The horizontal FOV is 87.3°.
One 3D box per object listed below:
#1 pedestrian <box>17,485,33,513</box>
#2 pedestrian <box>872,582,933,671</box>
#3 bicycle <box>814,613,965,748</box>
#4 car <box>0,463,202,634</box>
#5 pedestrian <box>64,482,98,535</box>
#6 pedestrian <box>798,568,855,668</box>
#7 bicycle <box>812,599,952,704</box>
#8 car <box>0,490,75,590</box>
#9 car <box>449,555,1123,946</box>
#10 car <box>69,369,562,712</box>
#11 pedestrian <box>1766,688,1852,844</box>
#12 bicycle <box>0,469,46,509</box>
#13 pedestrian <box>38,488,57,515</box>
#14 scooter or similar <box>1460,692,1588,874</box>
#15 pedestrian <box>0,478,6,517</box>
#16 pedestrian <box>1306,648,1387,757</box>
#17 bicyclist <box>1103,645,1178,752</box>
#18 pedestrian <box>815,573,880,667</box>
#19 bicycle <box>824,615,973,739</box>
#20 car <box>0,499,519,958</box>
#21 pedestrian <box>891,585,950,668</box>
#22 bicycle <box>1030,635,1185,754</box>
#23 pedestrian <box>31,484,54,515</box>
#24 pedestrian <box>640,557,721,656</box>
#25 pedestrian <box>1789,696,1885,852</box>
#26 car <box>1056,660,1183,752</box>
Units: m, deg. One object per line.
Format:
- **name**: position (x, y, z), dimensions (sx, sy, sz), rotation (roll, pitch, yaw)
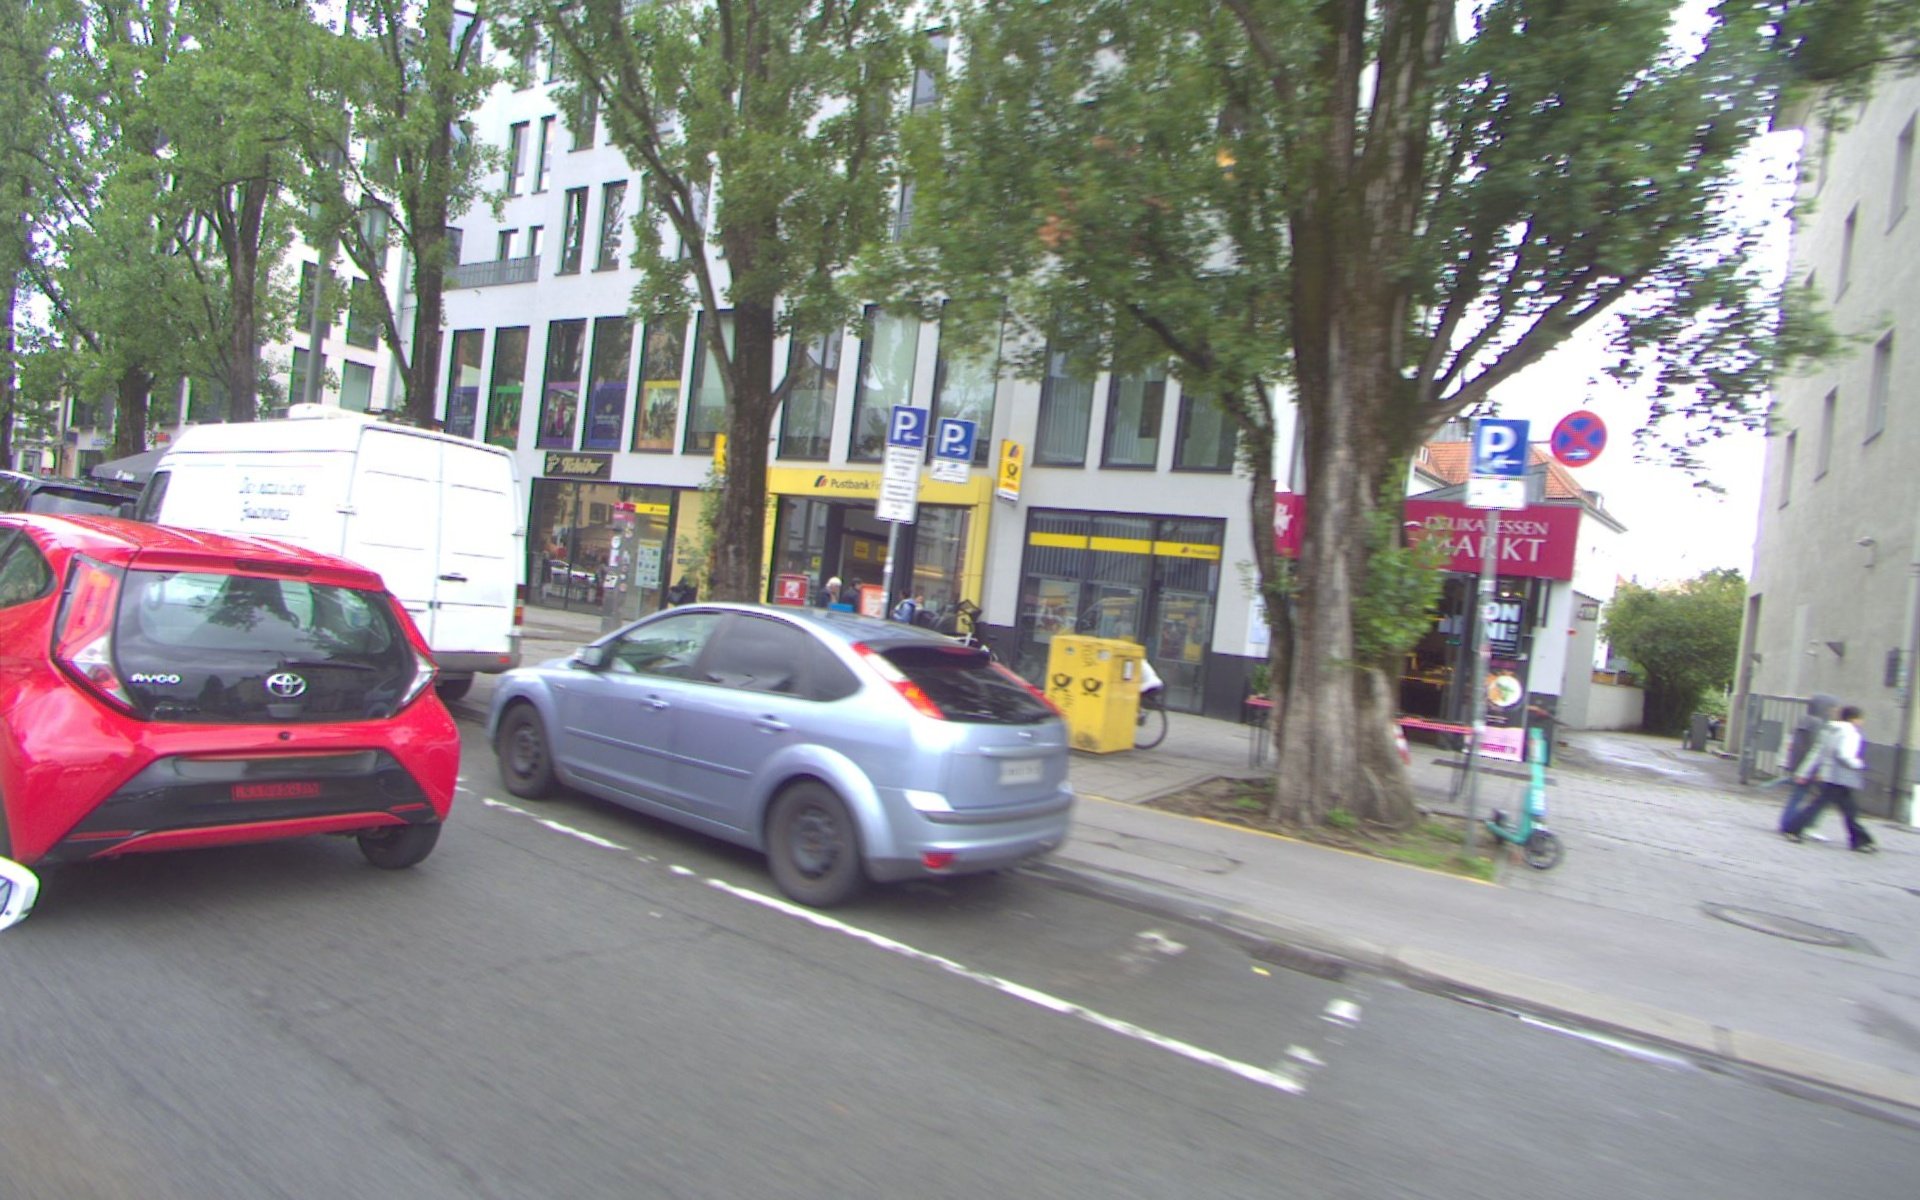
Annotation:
- **pedestrian**: position (-59.557, -6.441, 64.084), dimensions (0.670, 1.634, 0.632), rotation (5, 2, -43)
- **pedestrian**: position (-1.110, 0.519, 19.370), dimensions (0.760, 1.605, 0.691), rotation (7, 2, 31)
- **bicycle**: position (-0.794, 0.828, 10.720), dimensions (0.476, 1.174, 1.803), rotation (6, 1, -42)
- **car**: position (-12.382, -0.785, 13.645), dimensions (4.705, 1.826, 1.930), rotation (7, -1, 36)
- **pedestrian**: position (-28.960, -3.007, 33.146), dimensions (0.782, 1.640, 0.610), rotation (8, 2, 38)
- **pedestrian**: position (-2.467, 0.324, 18.528), dimensions (0.711, 1.747, 0.736), rotation (5, 2, -21)
- **bicycle**: position (-0.983, 0.678, 12.902), dimensions (0.696, 1.174, 1.624), rotation (8, 0, 44)
- **car**: position (-16.850, -1.210, 16.919), dimensions (4.497, 1.450, 1.773), rotation (7, -1, 34)
- **car**: position (-1.267, 0.716, 6.408), dimensions (4.082, 1.470, 1.727), rotation (7, -2, 35)
- **car**: position (-6.828, -0.633, 10.411), dimensions (5.464, 2.774, 1.996), rotation (6, -1, 33)
- **pedestrian**: position (10.064, 1.941, 11.950), dimensions (0.588, 1.723, 0.578), rotation (8, 2, 39)
- **bicycle**: position (-33.101, -3.905, 35.227), dimensions (0.527, 1.223, 1.478), rotation (7, 1, 35)
- **pedestrian**: position (-58.758, -6.334, 64.794), dimensions (0.818, 1.634, 0.769), rotation (5, 2, -43)
- **scooter or similar**: position (4.601, 1.441, 8.295), dimensions (0.393, 1.223, 1.469), rotation (7, 1, 13)
- **pedestrian**: position (-47.348, -5.071, 49.198), dimensions (0.925, 1.893, 0.816), rotation (8, 2, 40)
- **pedestrian**: position (5.781, 1.524, 15.058), dimensions (0.640, 1.494, 0.756), rotation (7, -1, -20)
- **bicyclist**: position (2.235, 1.203, 12.441), dimensions (0.631, 1.211, 0.538), rotation (7, 2, 31)
- **pedestrian**: position (-2.134, 0.380, 19.103), dimensions (0.785, 1.670, 0.691), rotation (7, 2, 31)
- **bicycle**: position (-0.728, 0.864, 11.561), dimensions (1.606, 1.174, 0.478), rotation (7, 1, 32)
- **car**: position (-4.040, 0.344, 4.889), dimensions (3.537, 1.463, 1.668), rotation (6, -2, 33)
- **pedestrian**: position (-0.798, 0.535, 20.239), dimensions (0.699, 1.555, 0.762), rotation (8, 2, 43)
- **bicycle**: position (1.838, 1.155, 12.638), dimensions (1.743, 1.210, 0.527), rotation (7, 2, 31)
- **pedestrian**: position (-50.217, -5.506, 55.059), dimensions (0.701, 1.571, 0.606), rotation (7, 2, 16)
- **pedestrian**: position (-5.101, 0.122, 18.390), dimensions (1.006, 1.657, 0.800), rotation (7, 1, 32)
- **pedestrian**: position (9.852, 1.930, 11.326), dimensions (0.625, 1.604, 0.641), rotation (8, 2, 39)
- **car**: position (1.998, 1.316, 12.692), dimensions (1.471, 0.916, 0.367), rotation (7, 2, 32)
